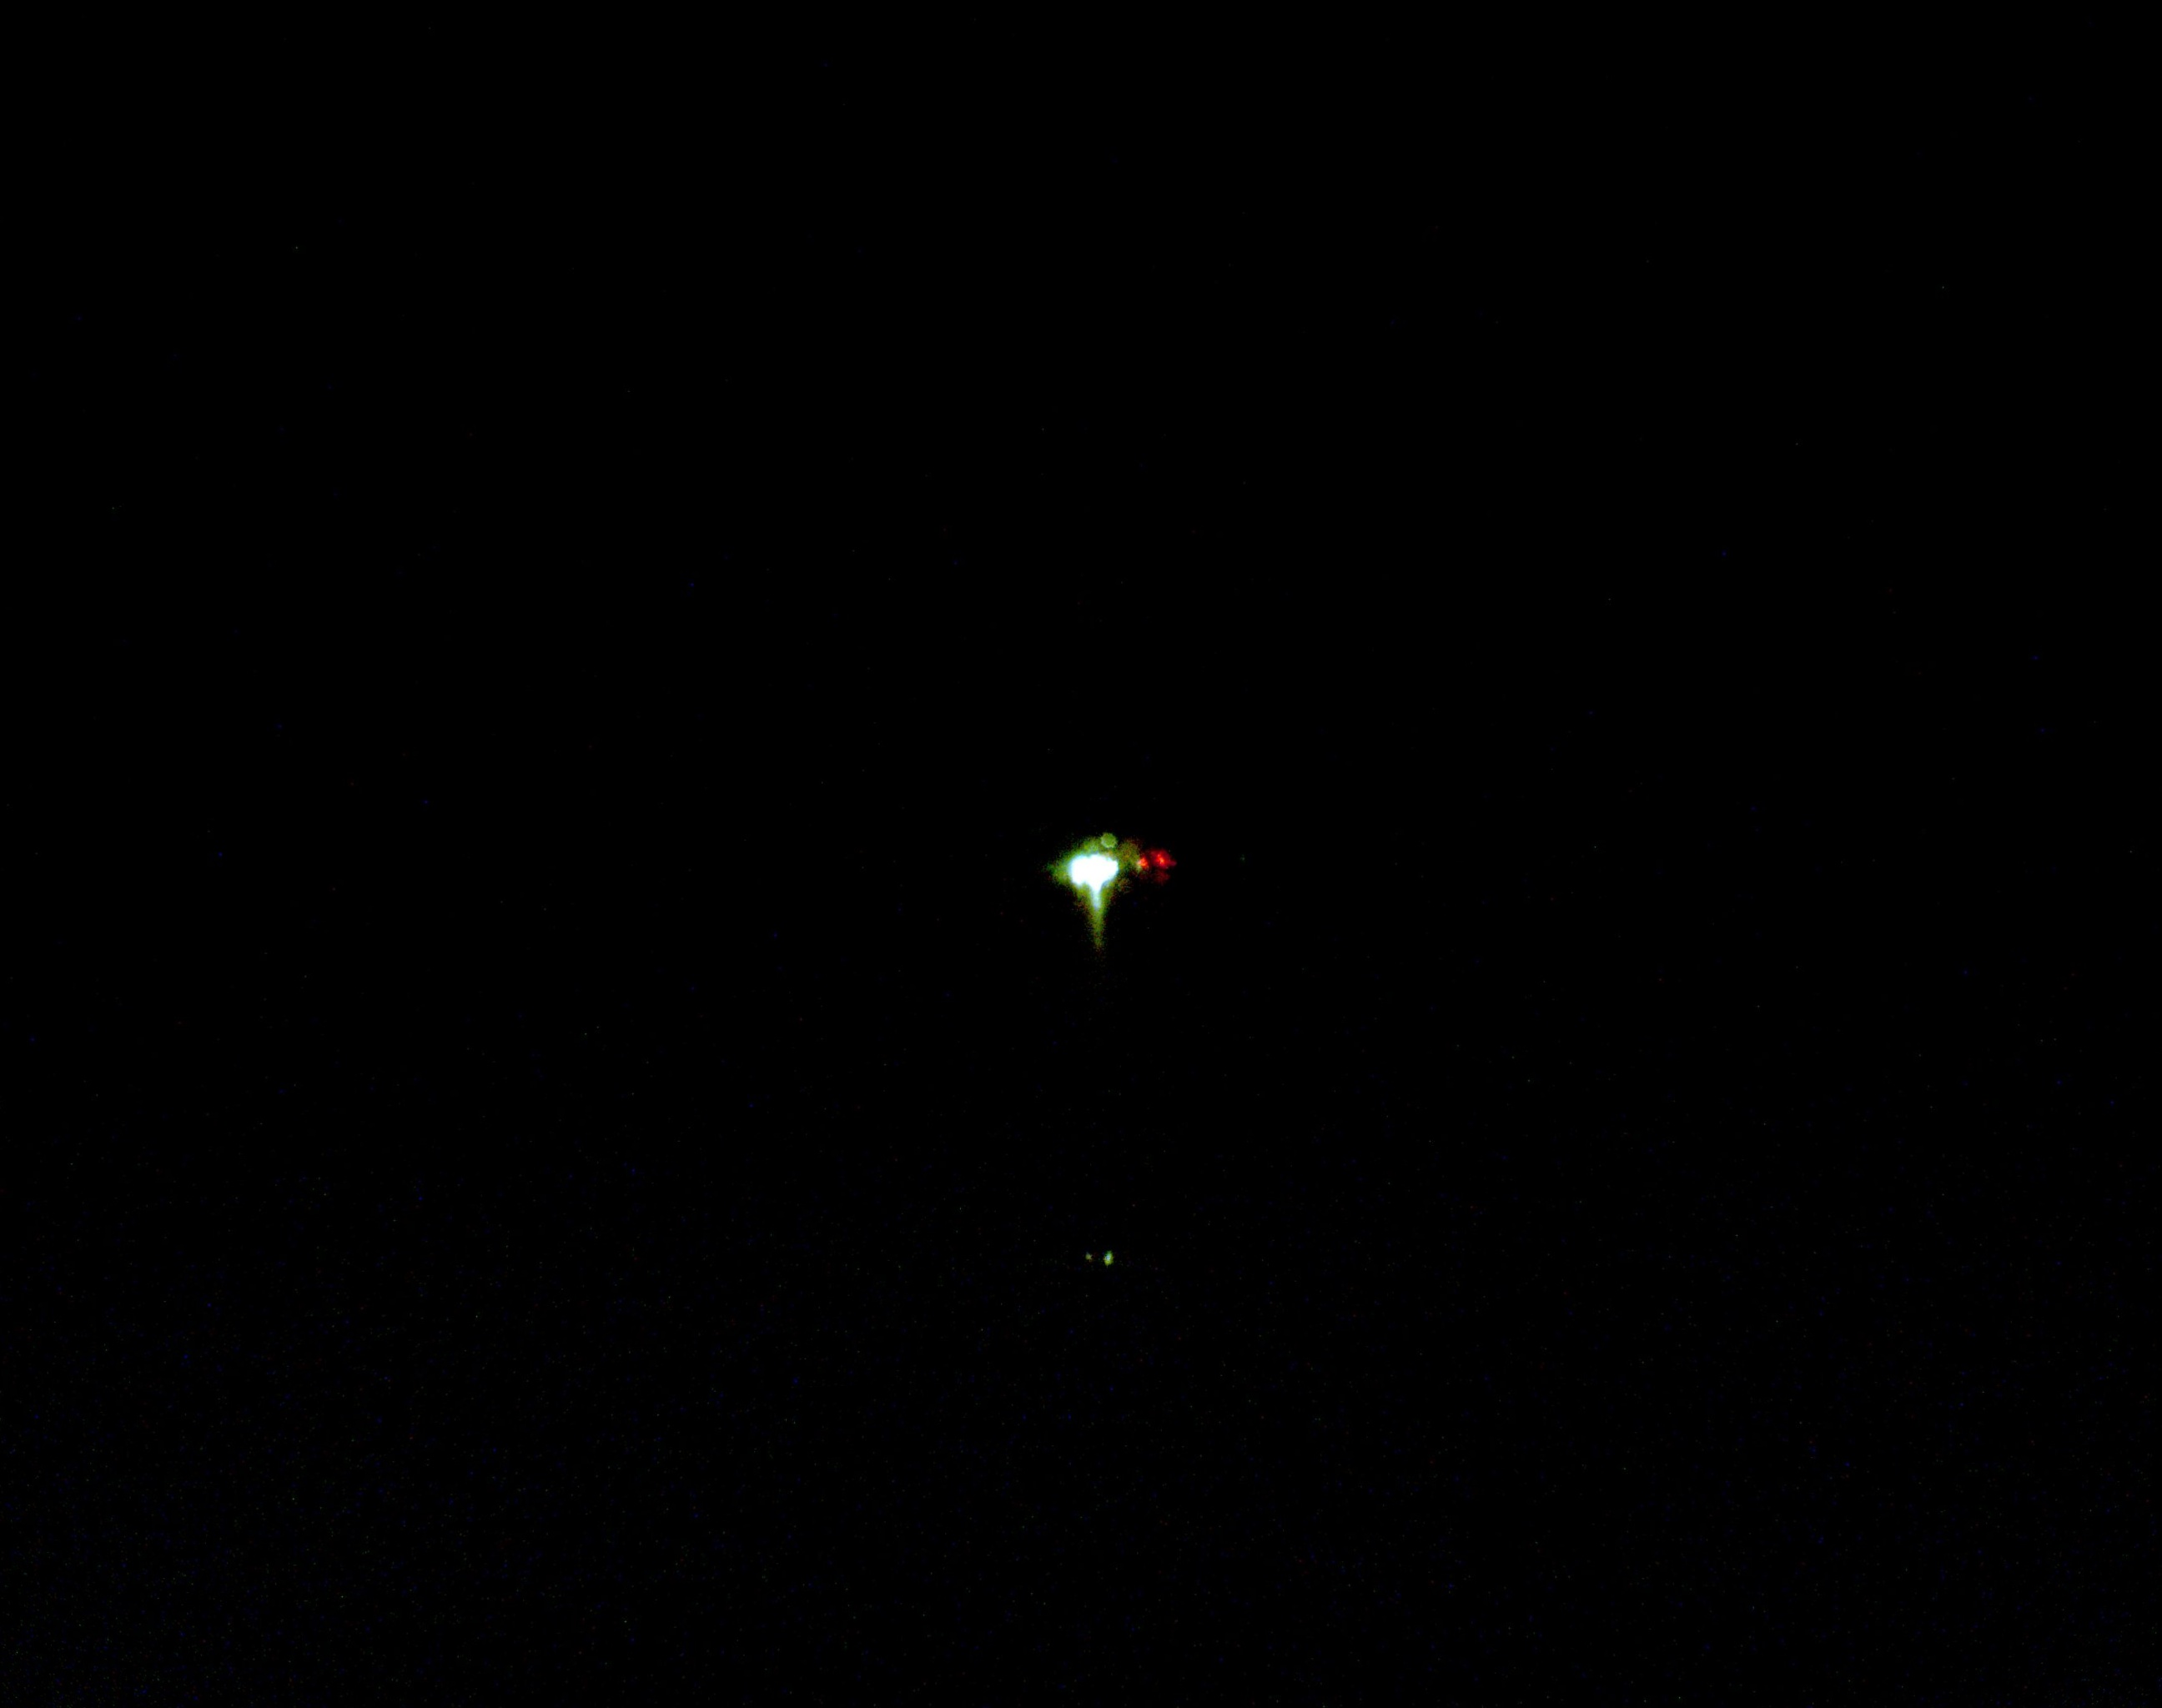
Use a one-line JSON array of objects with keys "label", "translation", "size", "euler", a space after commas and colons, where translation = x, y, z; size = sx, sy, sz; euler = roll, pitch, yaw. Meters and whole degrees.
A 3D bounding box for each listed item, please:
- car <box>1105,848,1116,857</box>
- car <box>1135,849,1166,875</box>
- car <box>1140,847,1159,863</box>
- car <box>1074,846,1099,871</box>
[{"label": "car", "translation": [6.230, -0.400, 158.960], "size": [2.112, 1.702, 4.000], "euler": [-2, 1, 1]}, {"label": "car", "translation": [5.060, 0.554, 55.762], "size": [1.951, 1.718, 3.999], "euler": [-2, 1, 1]}, {"label": "car", "translation": [8.505, 0.152, 94.353], "size": [1.998, 1.849, 4.441], "euler": [-2, 1, 2]}, {"label": "car", "translation": [0.529, 0.371, 64.429], "size": [1.998, 2.002, 4.000], "euler": [-2, 1, 1]}]
